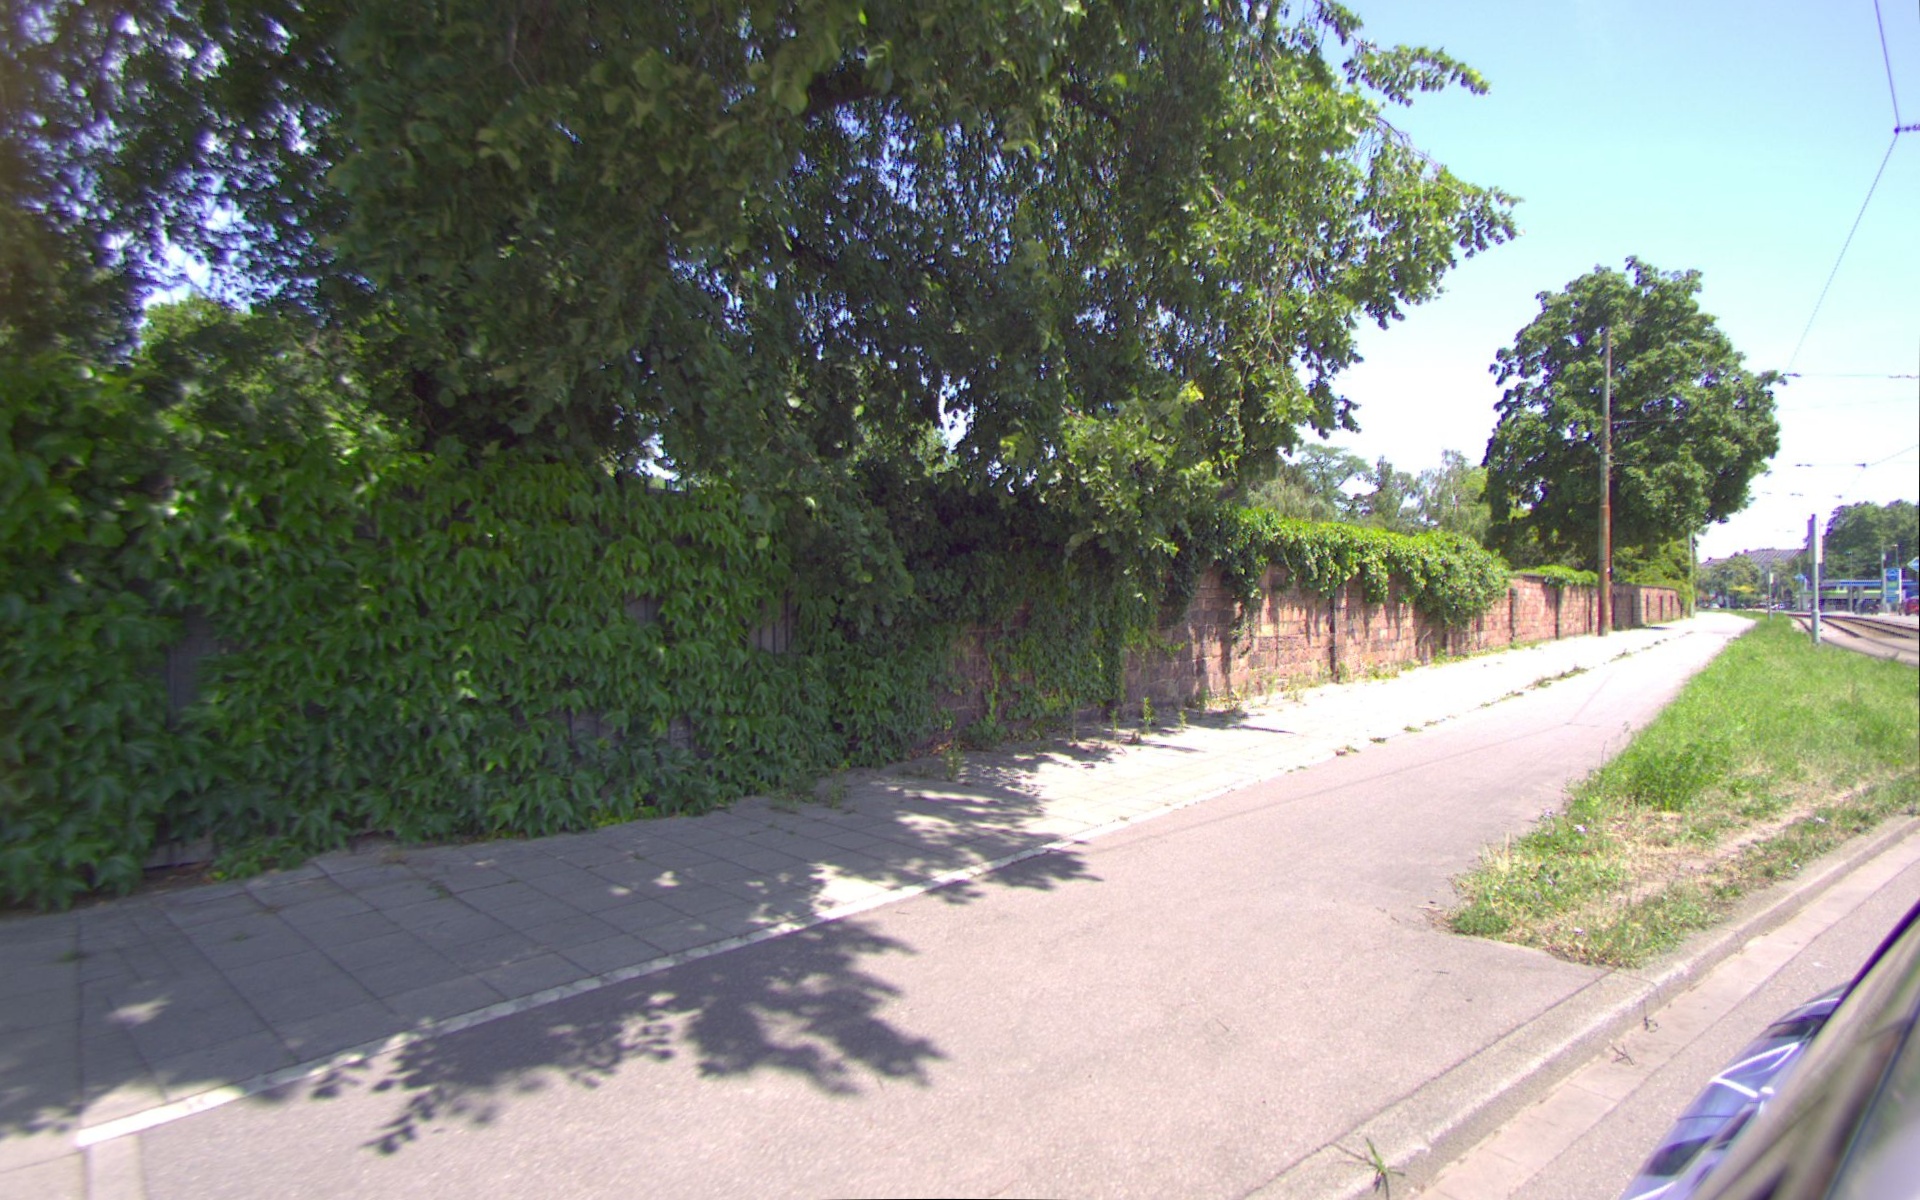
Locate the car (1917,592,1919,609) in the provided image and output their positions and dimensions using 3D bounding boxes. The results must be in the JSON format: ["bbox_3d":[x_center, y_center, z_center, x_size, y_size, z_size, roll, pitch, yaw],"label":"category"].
[{"bbox_3d":[108.743,0.117,113.292,1.895,1.950,4.753,2,2,38],"label":"car"}]

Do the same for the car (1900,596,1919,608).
[{"bbox_3d":[130.538,0.218,138.516,1.850,1.515,3.432,-5,-3,30],"label":"car"}]

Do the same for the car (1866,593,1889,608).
[{"bbox_3d":[122.986,0.033,135.680,1.915,1.934,4.506,1,1,39],"label":"car"}]
